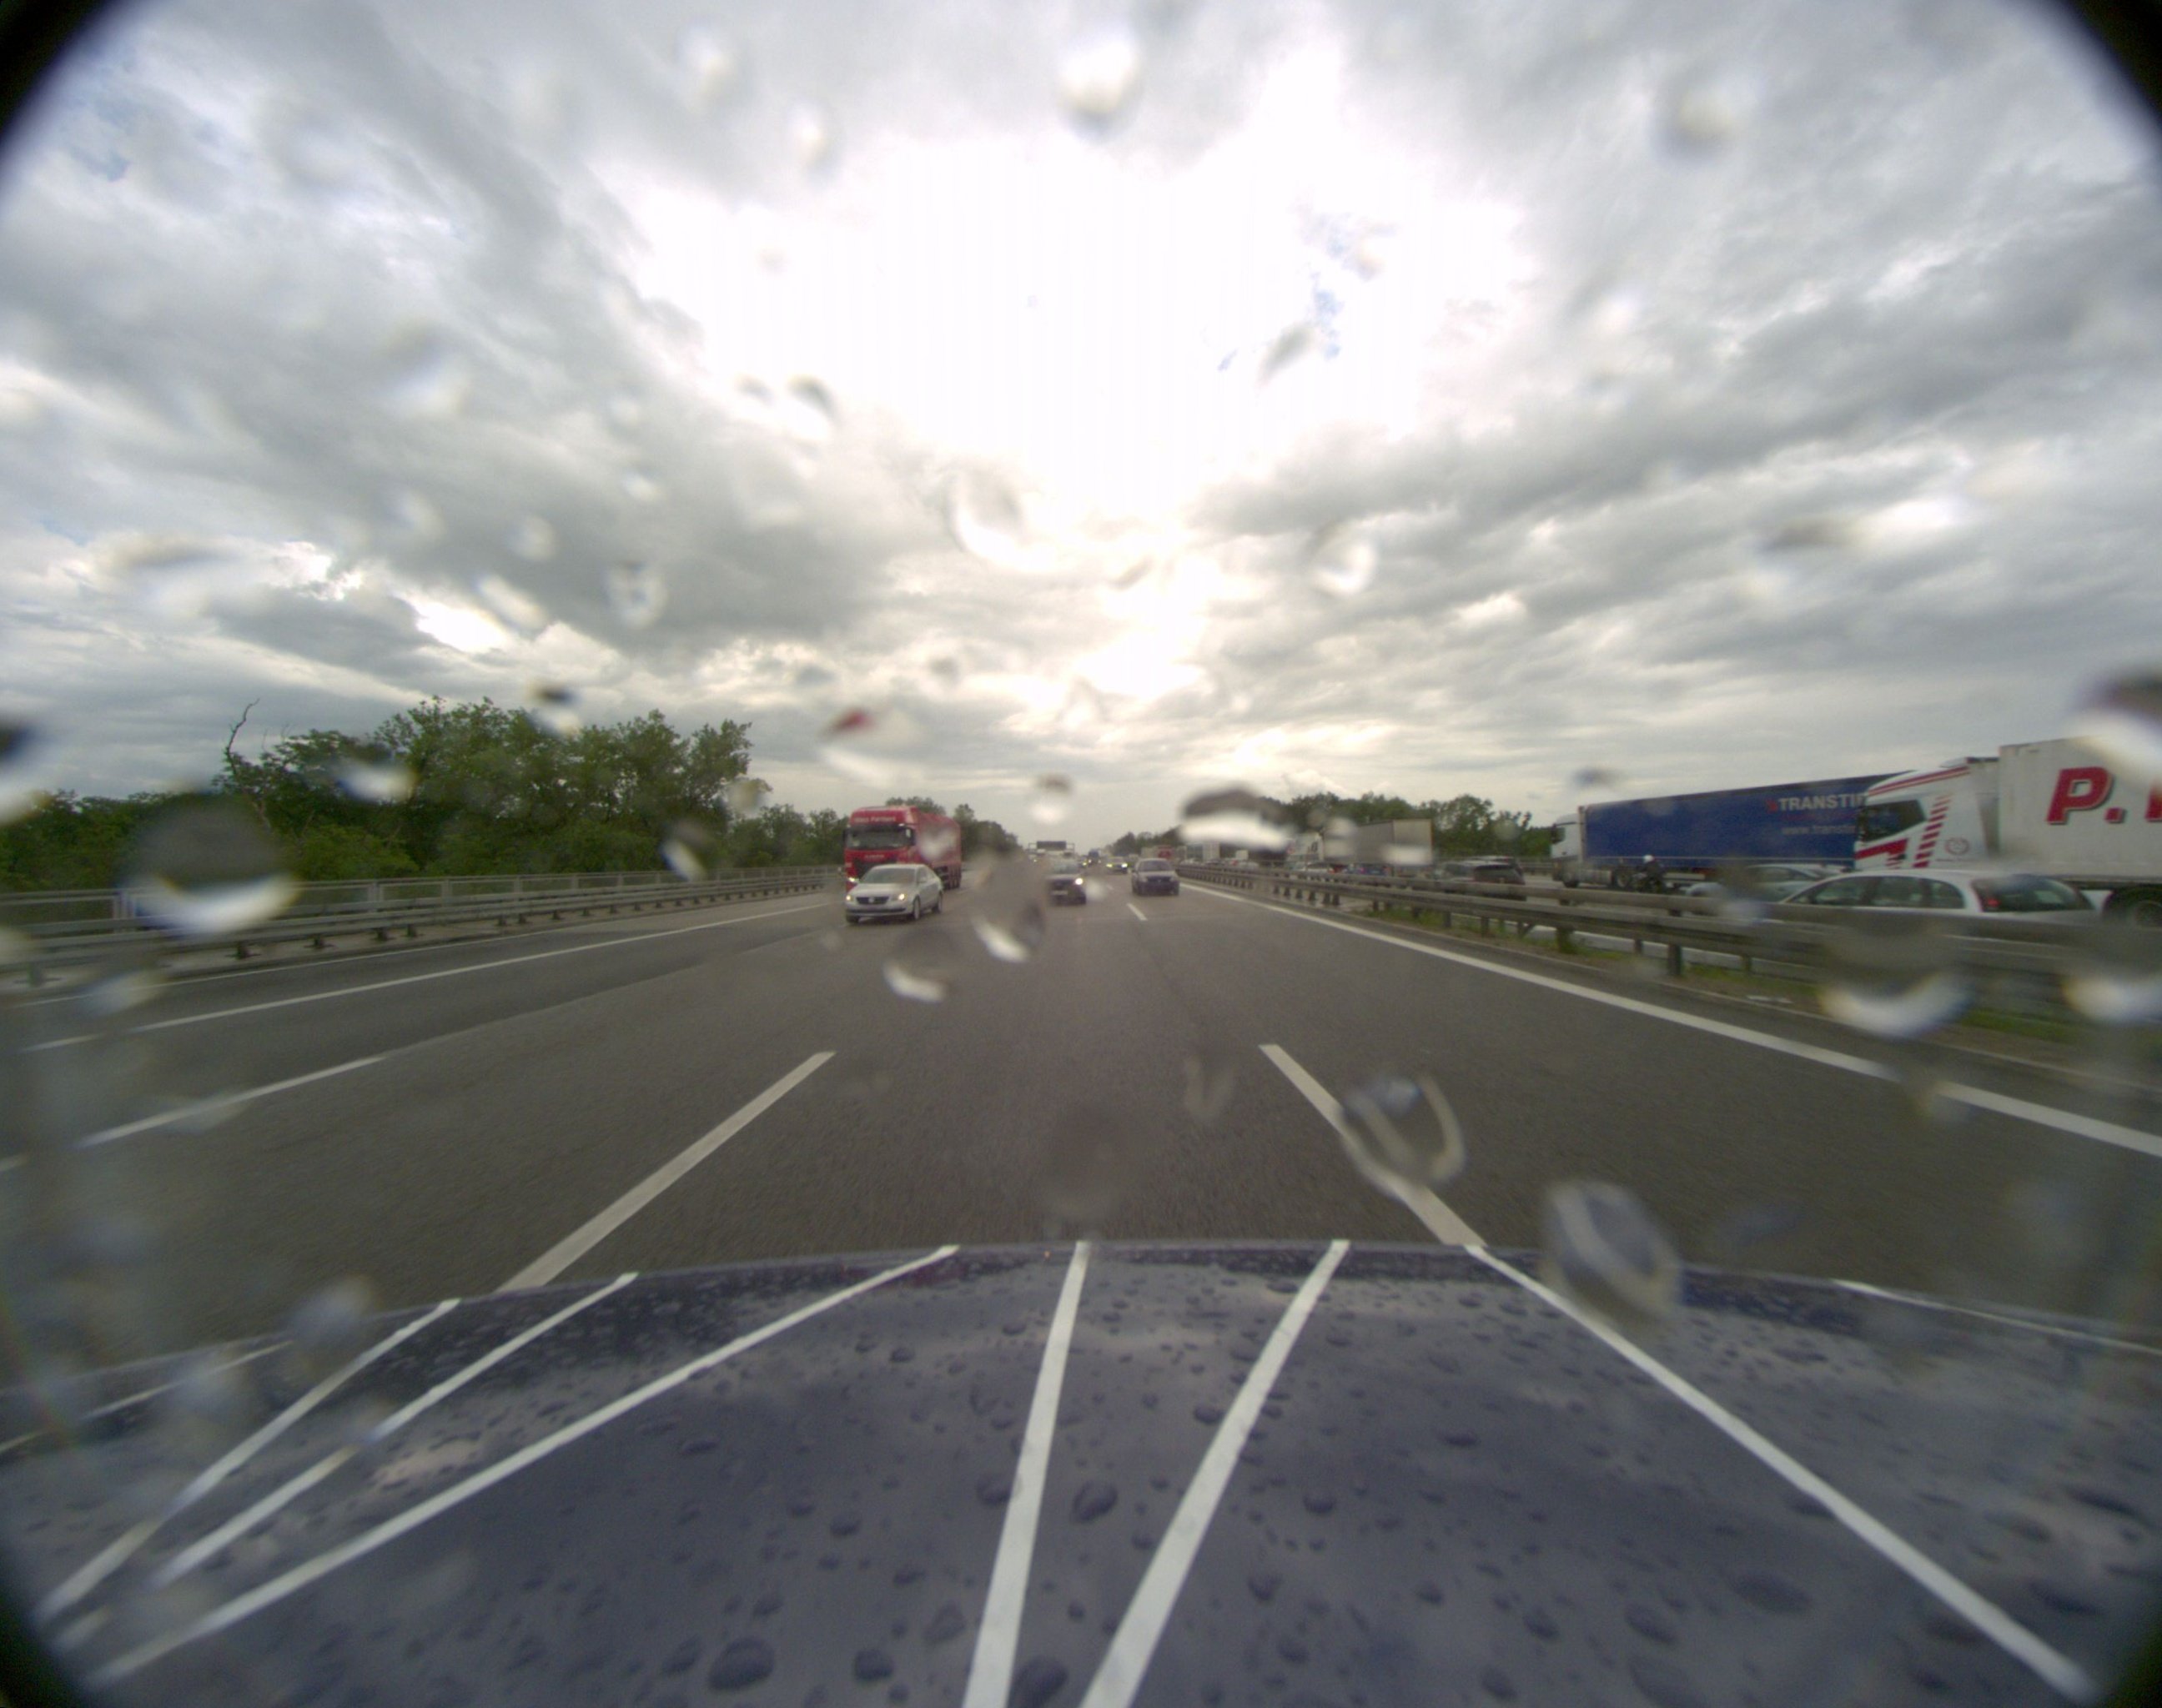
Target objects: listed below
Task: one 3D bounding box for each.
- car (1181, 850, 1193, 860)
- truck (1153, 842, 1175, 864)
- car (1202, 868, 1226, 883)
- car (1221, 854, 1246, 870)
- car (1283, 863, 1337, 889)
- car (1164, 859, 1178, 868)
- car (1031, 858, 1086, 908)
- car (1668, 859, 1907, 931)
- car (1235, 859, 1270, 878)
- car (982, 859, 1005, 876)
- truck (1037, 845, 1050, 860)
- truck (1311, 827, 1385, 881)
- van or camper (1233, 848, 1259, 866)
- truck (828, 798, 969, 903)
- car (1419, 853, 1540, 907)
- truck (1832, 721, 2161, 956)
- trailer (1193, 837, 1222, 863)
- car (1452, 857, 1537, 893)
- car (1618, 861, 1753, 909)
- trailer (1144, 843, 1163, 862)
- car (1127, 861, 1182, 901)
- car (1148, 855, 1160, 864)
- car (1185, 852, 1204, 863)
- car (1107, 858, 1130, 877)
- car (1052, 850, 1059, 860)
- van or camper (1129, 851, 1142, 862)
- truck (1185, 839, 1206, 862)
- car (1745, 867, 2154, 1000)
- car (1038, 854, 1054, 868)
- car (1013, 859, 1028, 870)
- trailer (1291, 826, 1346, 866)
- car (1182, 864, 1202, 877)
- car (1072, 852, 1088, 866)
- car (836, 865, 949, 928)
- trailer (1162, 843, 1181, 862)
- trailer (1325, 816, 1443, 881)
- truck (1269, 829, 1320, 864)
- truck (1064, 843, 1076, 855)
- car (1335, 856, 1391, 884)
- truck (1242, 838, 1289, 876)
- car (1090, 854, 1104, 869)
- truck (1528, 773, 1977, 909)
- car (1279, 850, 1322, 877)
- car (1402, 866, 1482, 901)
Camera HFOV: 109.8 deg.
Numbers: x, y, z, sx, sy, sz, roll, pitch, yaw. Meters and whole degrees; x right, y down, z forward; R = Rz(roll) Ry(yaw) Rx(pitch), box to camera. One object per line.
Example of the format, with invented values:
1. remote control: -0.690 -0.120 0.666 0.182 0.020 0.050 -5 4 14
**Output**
1. car: 20.656 0.196 148.294 1.998 1.820 4.000 -1 1 1
2. truck: 16.512 -0.249 152.221 2.991 4.125 12.521 0 0 0
3. car: 12.987 2.073 74.481 1.724 1.346 4.000 0 0 0
4. car: 16.863 0.885 84.182 1.724 1.690 5.055 0 0 0
5. car: 13.145 1.220 43.912 1.724 1.346 4.625 0 0 0
6. car: 13.389 1.424 113.450 1.577 1.346 4.384 0 0 0
7. car: -0.685 0.915 25.630 1.668 1.431 4.405 -1 1 0
8. car: 17.209 0.906 18.906 1.649 1.494 4.677 -1 0 1
9. car: 13.167 1.101 58.626 1.724 1.346 4.534 0 0 0
10. car: -8.173 1.223 71.043 1.820 1.534 4.357 -1 0 -2
11. truck: -10.333 -0.434 207.776 3.256 3.884 12.309 -2 0 -4
12. truck: 21.109 0.003 60.689 3.207 3.910 7.573 -2 0 0
13. van or camper: 24.787 0.411 114.576 2.249 2.563 7.362 -1 0 -1
14. truck: -8.234 -0.127 37.342 3.160 3.980 15.635 -1 0 0
15. car: 13.022 0.785 25.143 1.797 1.609 4.283 -1 0 1
16. truck: 20.742 -0.289 15.495 3.186 4.169 7.737 -1 0 0
17. trailer: 20.767 -0.660 125.310 2.825 4.037 11.601 -2 0 0
18. car: 21.431 1.052 39.617 1.973 1.737 4.575 -1 0 1
19. car: 21.295 1.025 26.988 1.649 1.536 4.000 -1 0 1
20. trailer: 16.340 -0.258 172.684 2.888 4.121 13.026 0 0 -1
21. car: 2.887 1.040 30.629 1.781 1.399 5.016 -1 0 1
22. car: 12.737 0.962 132.817 1.836 1.443 4.000 -1 0 0
23. car: 16.760 0.479 112.285 1.768 1.615 4.779 -1 0 -2
24. car: 3.163 1.167 65.159 1.751 1.489 4.015 -1 1 1
25. car: -6.785 0.229 203.204 2.037 2.587 4.513 0 0 -2
26. van or camper: 12.372 0.592 172.484 2.284 2.481 7.301 0 0 -1
27. truck: 20.644 -0.670 137.482 2.852 4.006 4.963 -2 0 0
28. car: 12.913 1.061 11.769 1.797 1.609 4.000 -1 0 1
29. car: -4.760 1.001 104.102 1.962 1.831 3.999 -1 0 -1
30. car: -8.289 1.459 104.182 1.782 1.438 4.587 -1 0 -2
31. trailer: 25.787 -0.841 82.951 3.227 3.936 8.849 -2 0 0
32. car: 13.666 1.971 94.021 1.724 1.494 5.502 0 0 0
33. car: -0.142 0.633 103.660 2.134 1.831 4.000 -1 0 0
34. car: -4.920 1.052 20.438 1.898 1.438 4.246 -1 0 1
35. trailer: 20.832 -0.402 175.508 2.888 4.121 13.028 0 0 1
36. trailer: 21.042 -0.368 54.038 3.252 3.910 13.014 -2 0 0
37. truck: 25.858 -0.864 92.492 3.233 3.887 10.281 -2 0 0
38. truck: -3.698 -1.469 245.820 2.959 3.777 12.322 -2 0 -5
39. car: 17.582 0.940 47.612 1.826 1.614 4.698 0 0 0
40. truck: 17.560 0.272 72.913 2.526 3.379 8.540 0 0 0
41. car: 2.654 1.196 127.760 1.999 2.354 4.171 -2 0 -1
42. truck: 25.041 -0.351 31.289 2.655 3.997 17.746 -1 0 0
43. car: 17.651 0.741 61.387 1.826 2.040 5.675 0 0 0
44. car: 17.438 1.372 36.987 1.649 1.501 4.860 -1 0 1
